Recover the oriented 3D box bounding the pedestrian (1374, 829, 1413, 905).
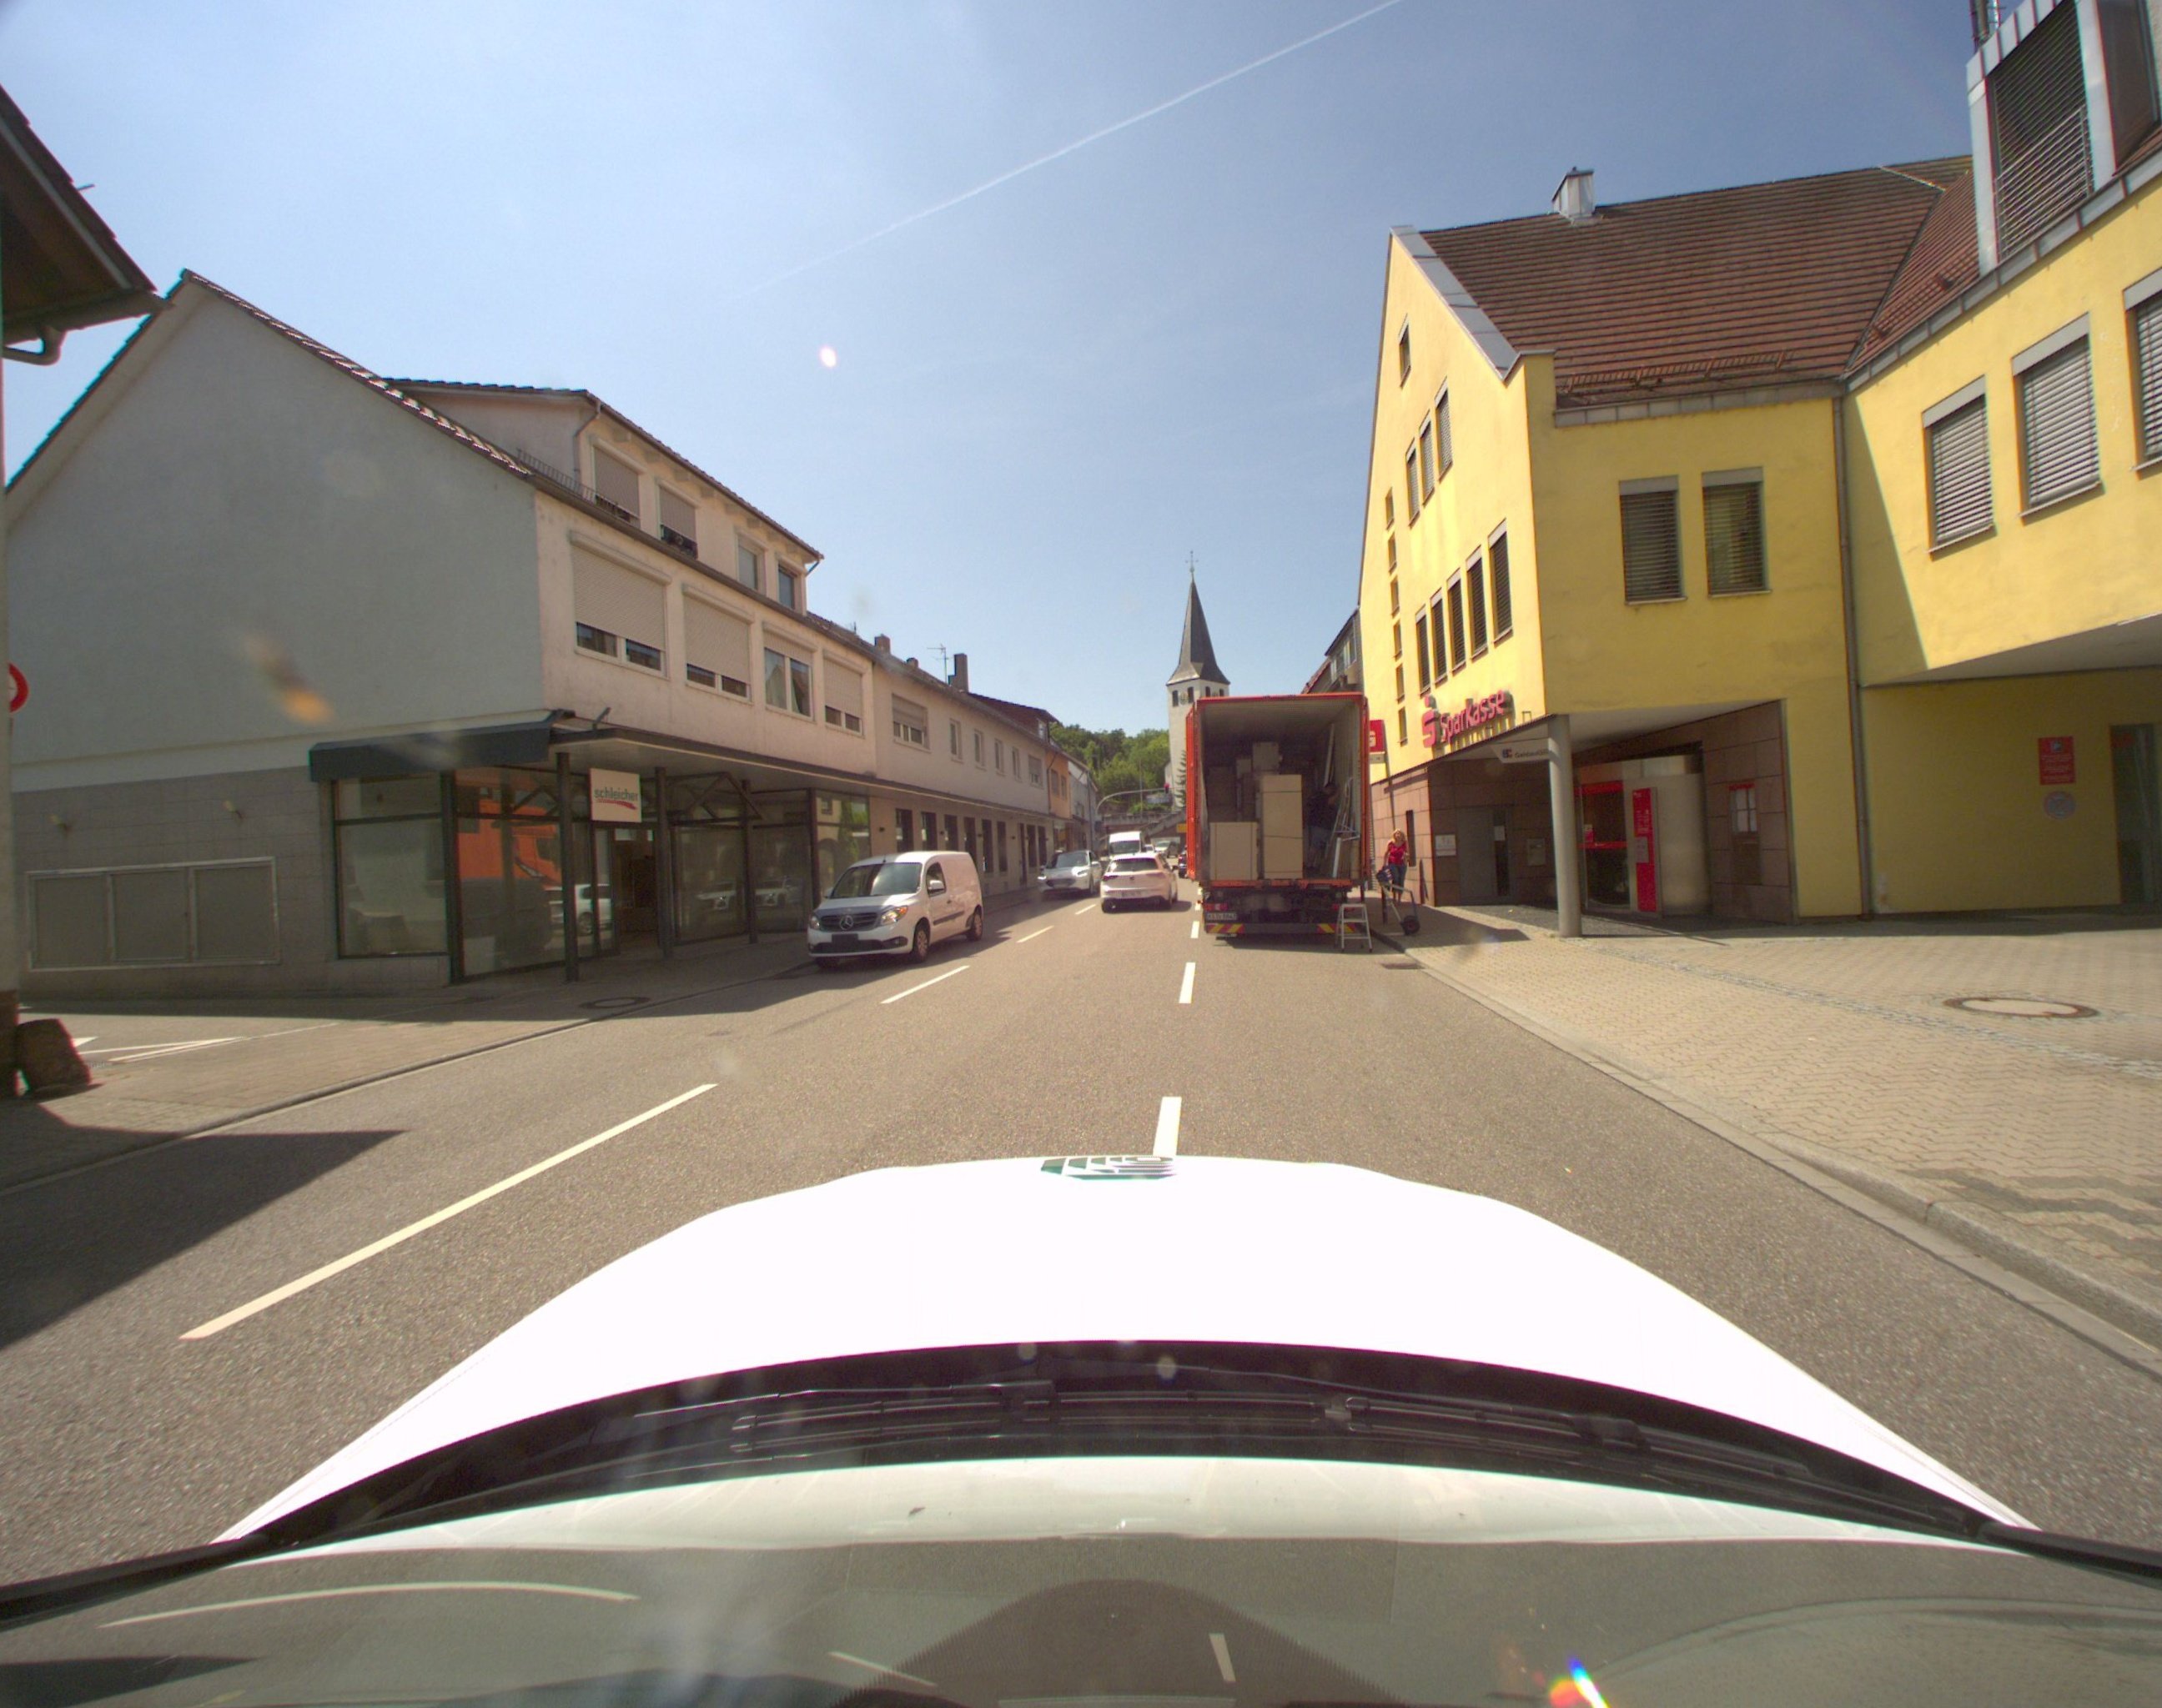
[{"bbox_3d":[6.911,0.285,18.024,0.684,1.653,0.652,-1,-1,10],"label":"pedestrian"}]

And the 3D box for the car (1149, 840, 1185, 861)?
[{"bbox_3d":[8.135,-0.326,76.726,1.662,1.617,3.846,-5,1,33],"label":"car"}]

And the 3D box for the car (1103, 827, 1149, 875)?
[{"bbox_3d":[2.776,-0.177,48.700,2.128,2.568,5.406,-4,0,8],"label":"car"}]

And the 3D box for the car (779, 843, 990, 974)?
[{"bbox_3d":[-3.173,0.820,14.282,1.772,1.830,4.613,-4,-1,10],"label":"car"}]

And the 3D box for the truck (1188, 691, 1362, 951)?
[{"bbox_3d":[3.883,-0.616,17.512,2.592,3.945,10.022,-1,1,10],"label":"truck"}]

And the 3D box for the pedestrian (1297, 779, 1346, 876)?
[{"bbox_3d":[4.453,-0.472,15.156,0.745,1.757,0.929,-1,-1,9],"label":"pedestrian"}]

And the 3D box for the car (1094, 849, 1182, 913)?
[{"bbox_3d":[1.603,0.640,21.528,1.771,1.458,3.875,-3,0,11],"label":"car"}]

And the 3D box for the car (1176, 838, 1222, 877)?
[{"bbox_3d":[5.612,0.136,39.052,1.939,1.582,4.334,-2,2,6],"label":"car"}]

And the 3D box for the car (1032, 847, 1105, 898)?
[{"bbox_3d":[-0.358,0.639,29.246,1.808,1.554,4.208,-5,-1,9],"label":"car"}]

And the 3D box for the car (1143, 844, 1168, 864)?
[{"bbox_3d":[5.965,-0.035,65.174,1.587,1.455,3.457,-5,0,10],"label":"car"}]
